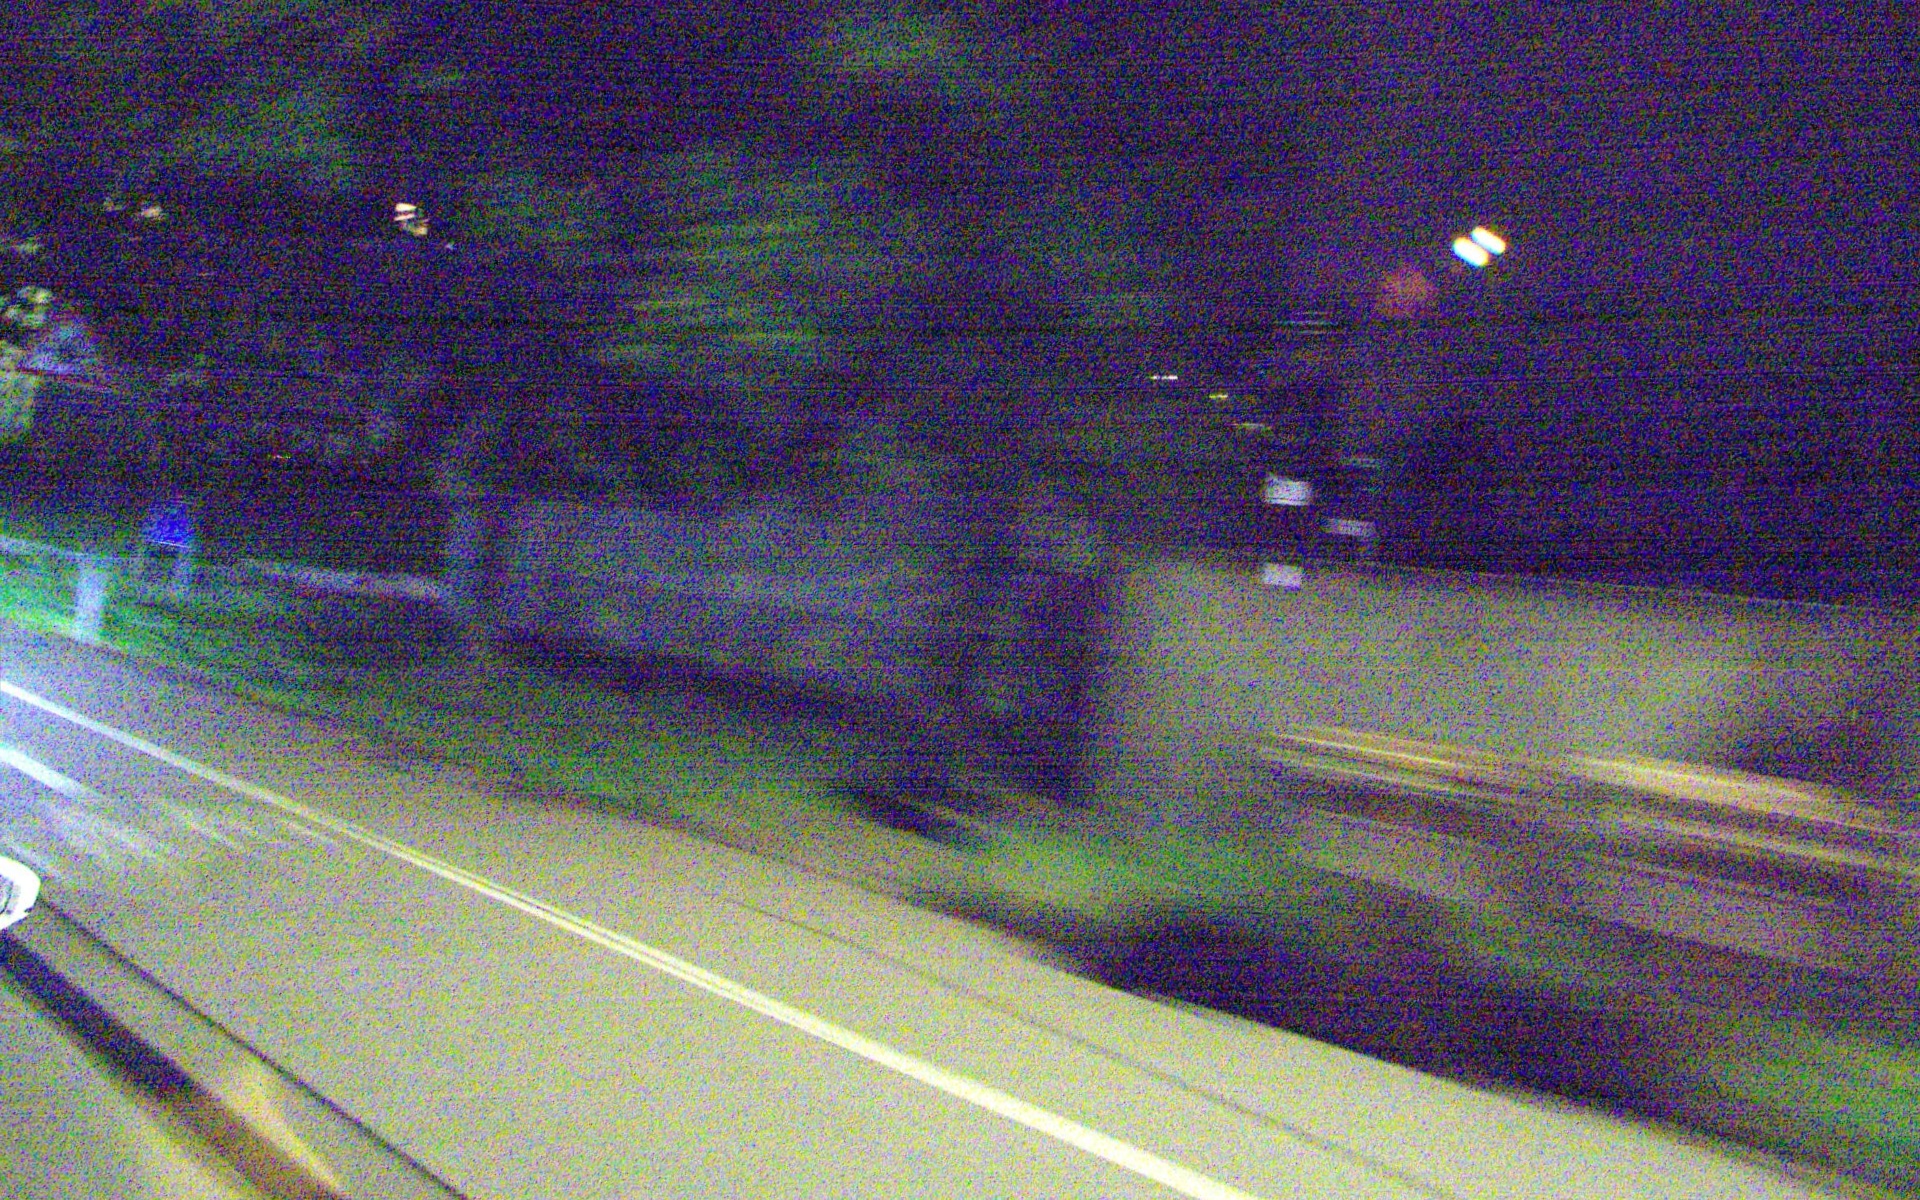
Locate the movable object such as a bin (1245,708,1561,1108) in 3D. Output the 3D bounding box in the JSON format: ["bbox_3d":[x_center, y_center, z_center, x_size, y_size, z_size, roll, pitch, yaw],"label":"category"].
[{"bbox_3d":[1.666,1.029,3.743,0.827,1.133,0.858,7,0,34],"label":"movable object such as a bin"}]

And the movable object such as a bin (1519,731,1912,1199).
[{"bbox_3d":[2.420,1.107,3.332,0.815,1.196,0.834,7,0,34],"label":"movable object such as a bin"}]
